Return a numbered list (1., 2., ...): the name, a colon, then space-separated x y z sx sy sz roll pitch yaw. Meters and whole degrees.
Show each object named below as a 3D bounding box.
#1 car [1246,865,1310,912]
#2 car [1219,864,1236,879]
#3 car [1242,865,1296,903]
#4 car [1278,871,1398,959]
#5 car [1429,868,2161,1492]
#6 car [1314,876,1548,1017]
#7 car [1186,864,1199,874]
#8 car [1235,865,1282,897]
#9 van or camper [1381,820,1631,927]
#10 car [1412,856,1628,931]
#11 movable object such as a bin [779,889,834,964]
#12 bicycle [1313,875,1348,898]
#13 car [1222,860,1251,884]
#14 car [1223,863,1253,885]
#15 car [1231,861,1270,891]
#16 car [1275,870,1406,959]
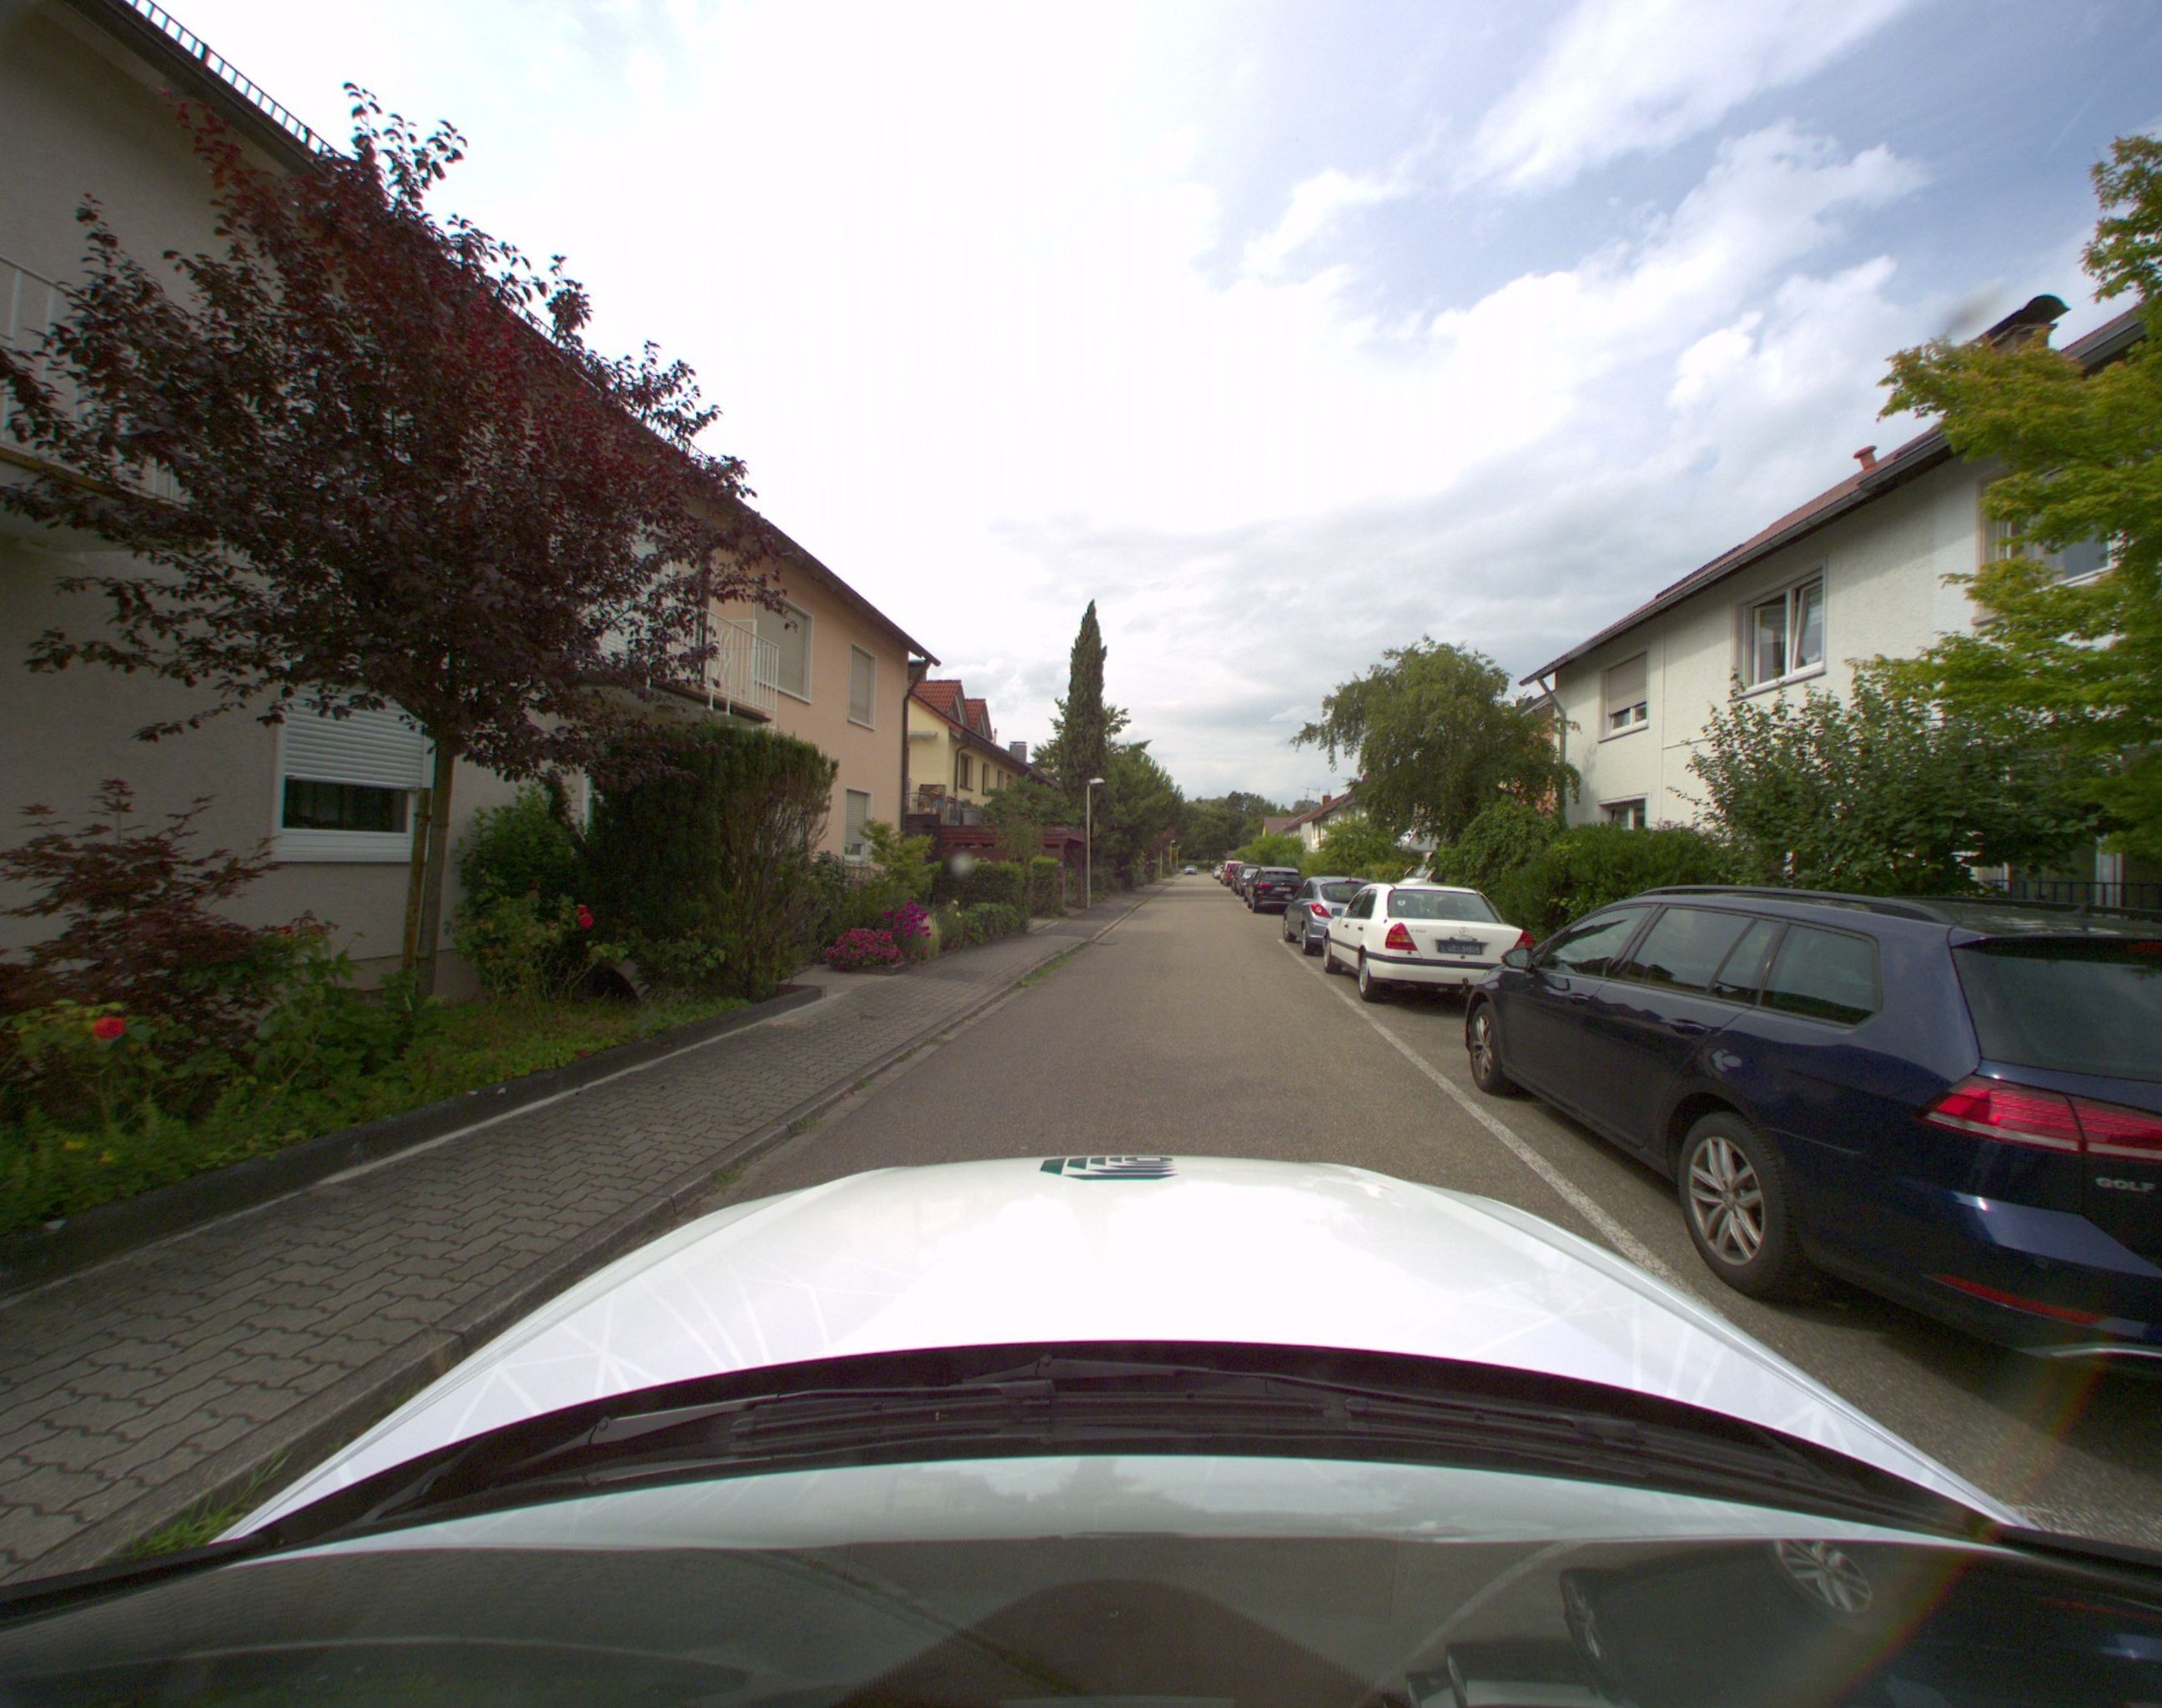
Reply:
1. car: 6.850 1.139 28.683 1.739 1.467 4.658 1 -1 8
2. car: 15.615 1.870 86.792 1.704 1.544 3.983 1 -1 9
3. car: 7.847 1.219 34.269 1.724 1.428 4.133 1 -1 6
4. car: 5.021 1.113 16.443 1.731 1.471 4.228 1 0 9
5. car: 3.441 0.825 4.261 1.856 1.440 4.862 1 -1 9
6. car: 4.338 1.027 10.903 1.684 1.365 4.708 1 -1 8
7. car: 18.060 2.428 131.952 1.922 1.556 4.646 0 -1 9
8. car: 9.086 1.350 42.056 1.858 1.407 4.776 3 0 6
9. van or camper: 11.765 0.515 23.010 5.769 2.818 2.541 0 -1 6
10. car: 11.064 0.968 20.850 4.502 1.708 1.905 1 -1 11
11. movable object such as a bin: -3.591 0.936 10.675 0.486 0.931 0.507 1 -1 7
12. bicycle: 11.340 1.482 37.056 1.527 1.023 0.377 1 -1 13
13. car: 12.809 1.459 67.455 2.010 1.947 4.756 0 -1 6
14. car: 11.997 1.507 62.508 1.802 1.651 4.416 0 -1 5
15. car: 10.049 1.261 48.441 1.858 1.653 4.472 1 -1 6
16. car: 5.071 1.103 16.461 1.694 1.442 4.227 2 0 6
